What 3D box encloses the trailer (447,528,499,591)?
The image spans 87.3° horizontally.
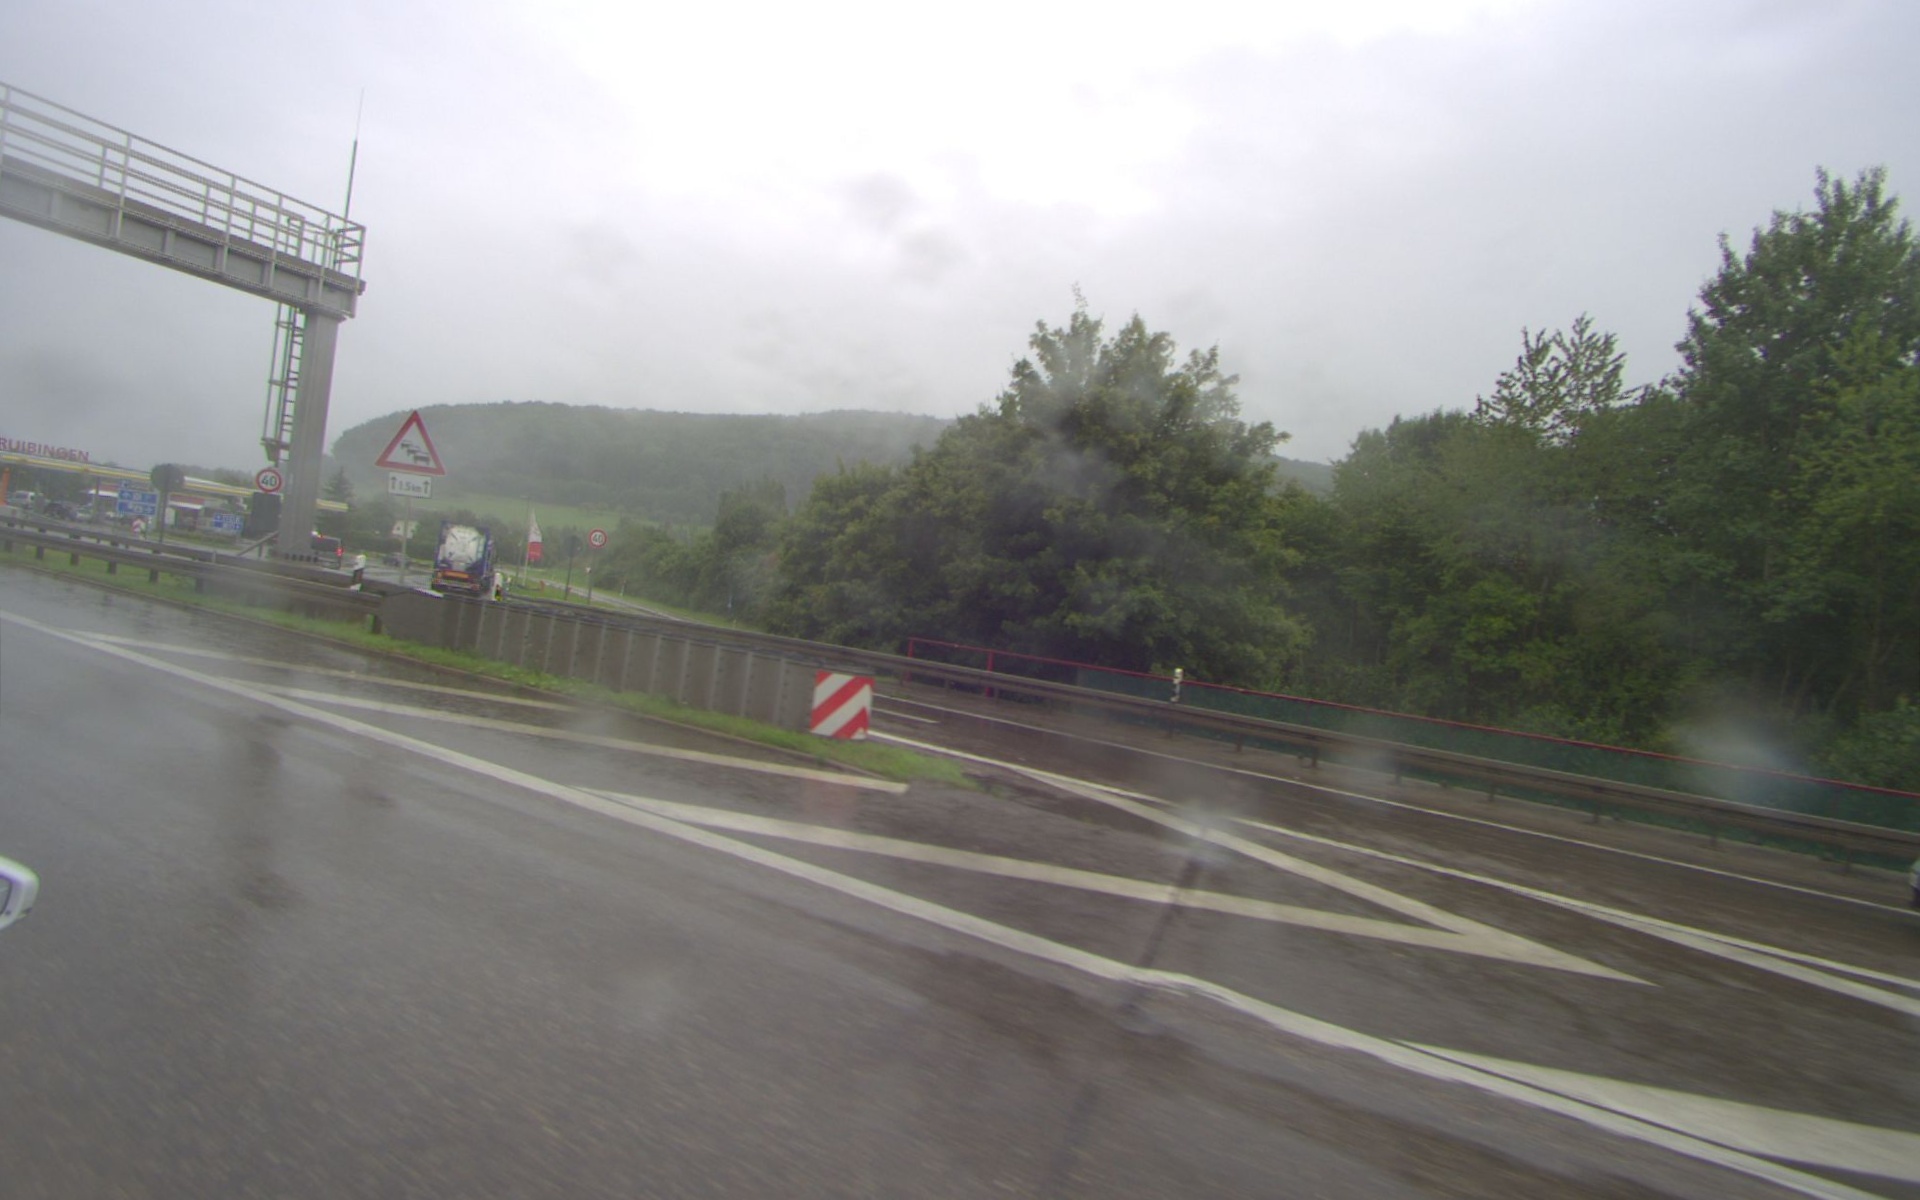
[{"bbox_3d":[-36.006,-2.886,74.659,2.760,3.944,11.685,9,-2,-25],"label":"trailer"}]

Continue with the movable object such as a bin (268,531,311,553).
[{"bbox_3d":[-83.231,-7.188,124.913,5.293,2.036,2.171,7,-2,31],"label":"movable object such as a bin"}]

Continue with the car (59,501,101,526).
[{"bbox_3d":[-101.295,-9.930,115.798,4.811,2.207,2.086,7,-2,31],"label":"car"}]

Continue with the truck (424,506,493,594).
[{"bbox_3d":[-29.585,-2.793,59.639,2.846,4.304,11.802,9,-2,-25],"label":"truck"}]

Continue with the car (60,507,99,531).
[{"bbox_3d":[-96.199,-8.827,109.947,3.934,2.036,1.965,7,-2,32],"label":"car"}]

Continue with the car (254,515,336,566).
[{"bbox_3d":[-33.149,-2.982,50.091,4.984,2.037,1.992,7,-2,42],"label":"car"}]

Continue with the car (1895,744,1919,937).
[{"bbox_3d":[11.221,2.460,7.716,5.576,1.770,1.995,6,-3,37],"label":"car"}]
